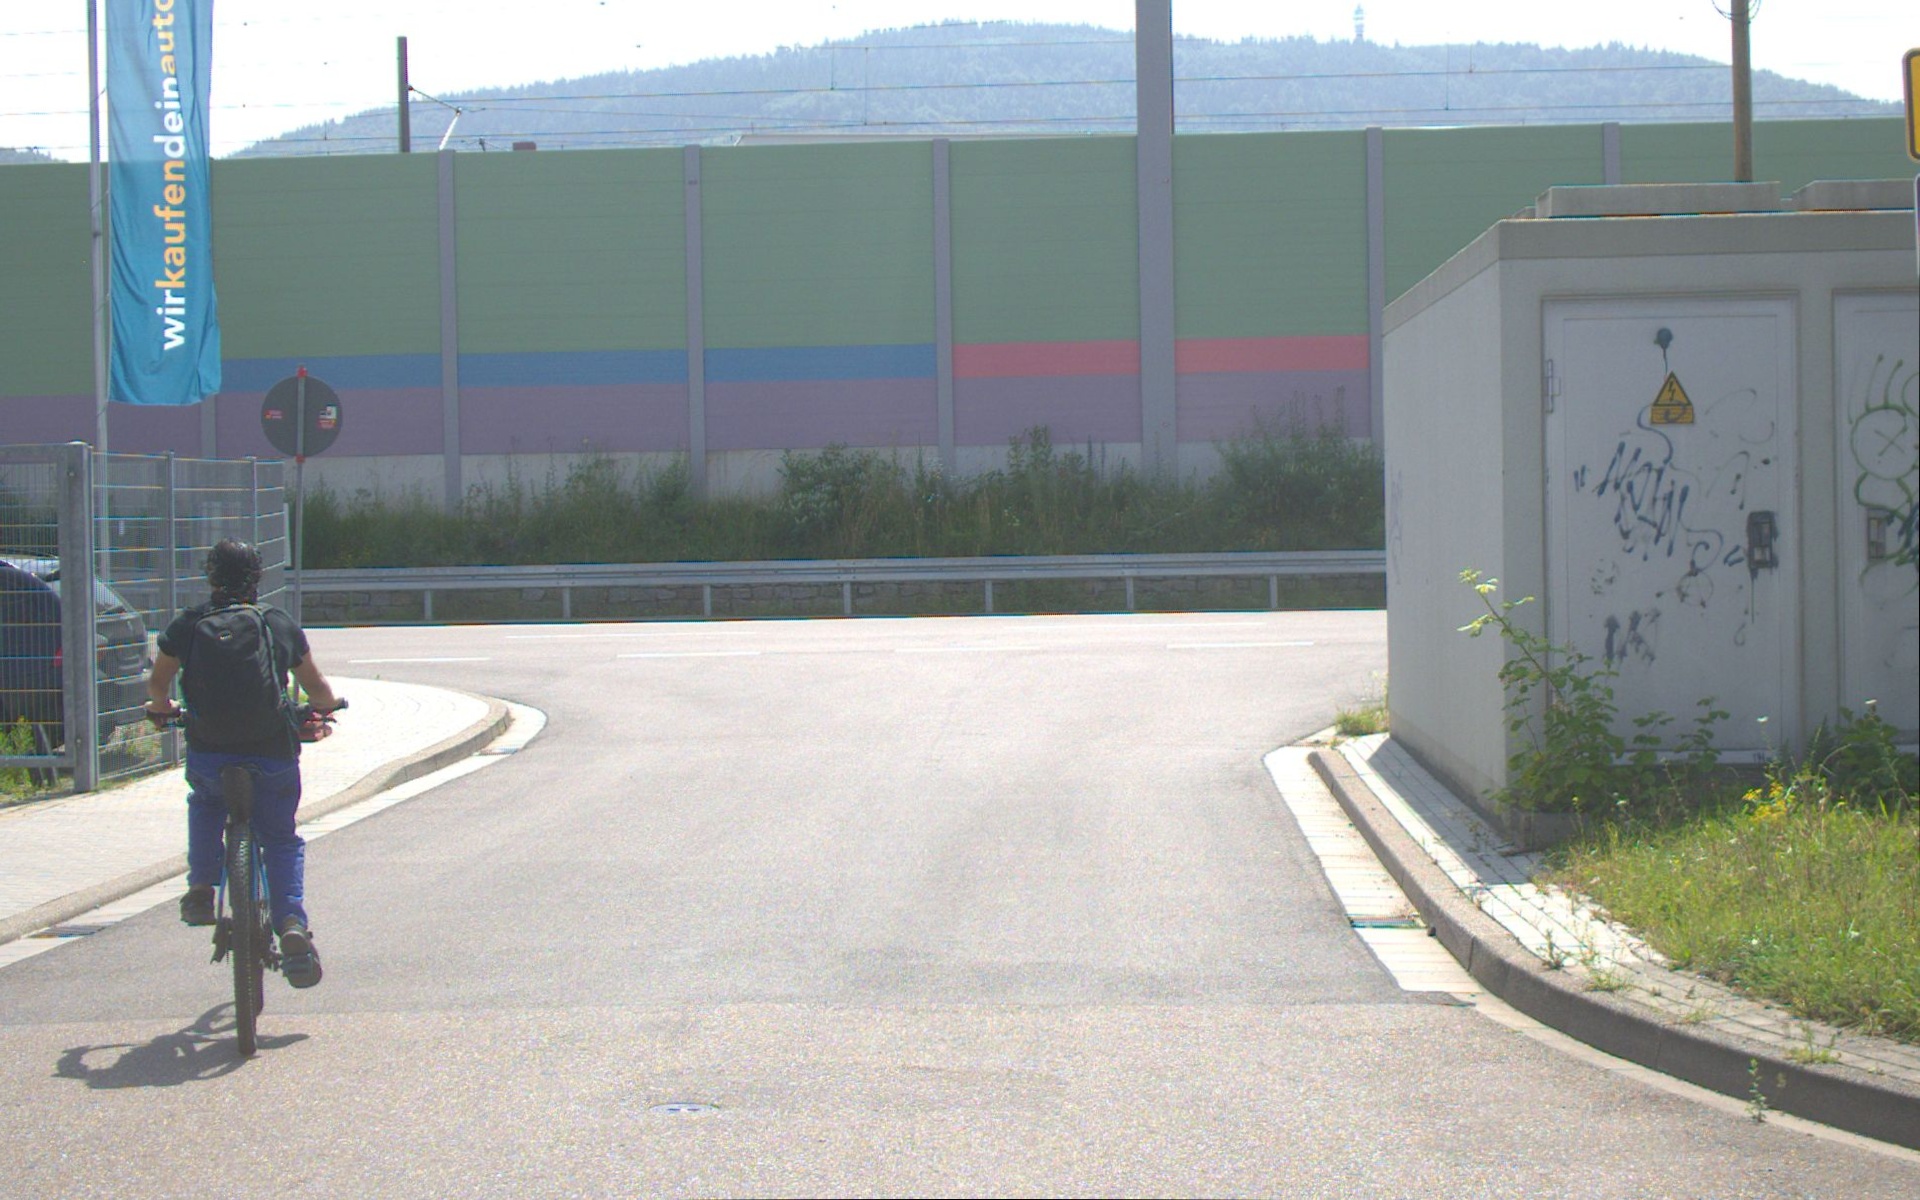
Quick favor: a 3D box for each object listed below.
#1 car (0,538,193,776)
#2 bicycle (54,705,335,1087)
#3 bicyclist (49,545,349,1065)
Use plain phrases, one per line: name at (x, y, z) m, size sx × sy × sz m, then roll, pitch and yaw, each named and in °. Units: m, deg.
car at (-7.440, 0.372, 23.088) m, size 3.988 × 1.487 × 2.000 m, roll -1°, pitch 1°, yaw 8°
bicycle at (-2.474, 0.919, 11.291) m, size 0.685 × 1.048 × 1.901 m, roll -1°, pitch 1°, yaw -7°
bicyclist at (-2.466, 0.635, 11.248) m, size 0.842 × 1.613 × 1.039 m, roll 0°, pitch 0°, yaw -6°
